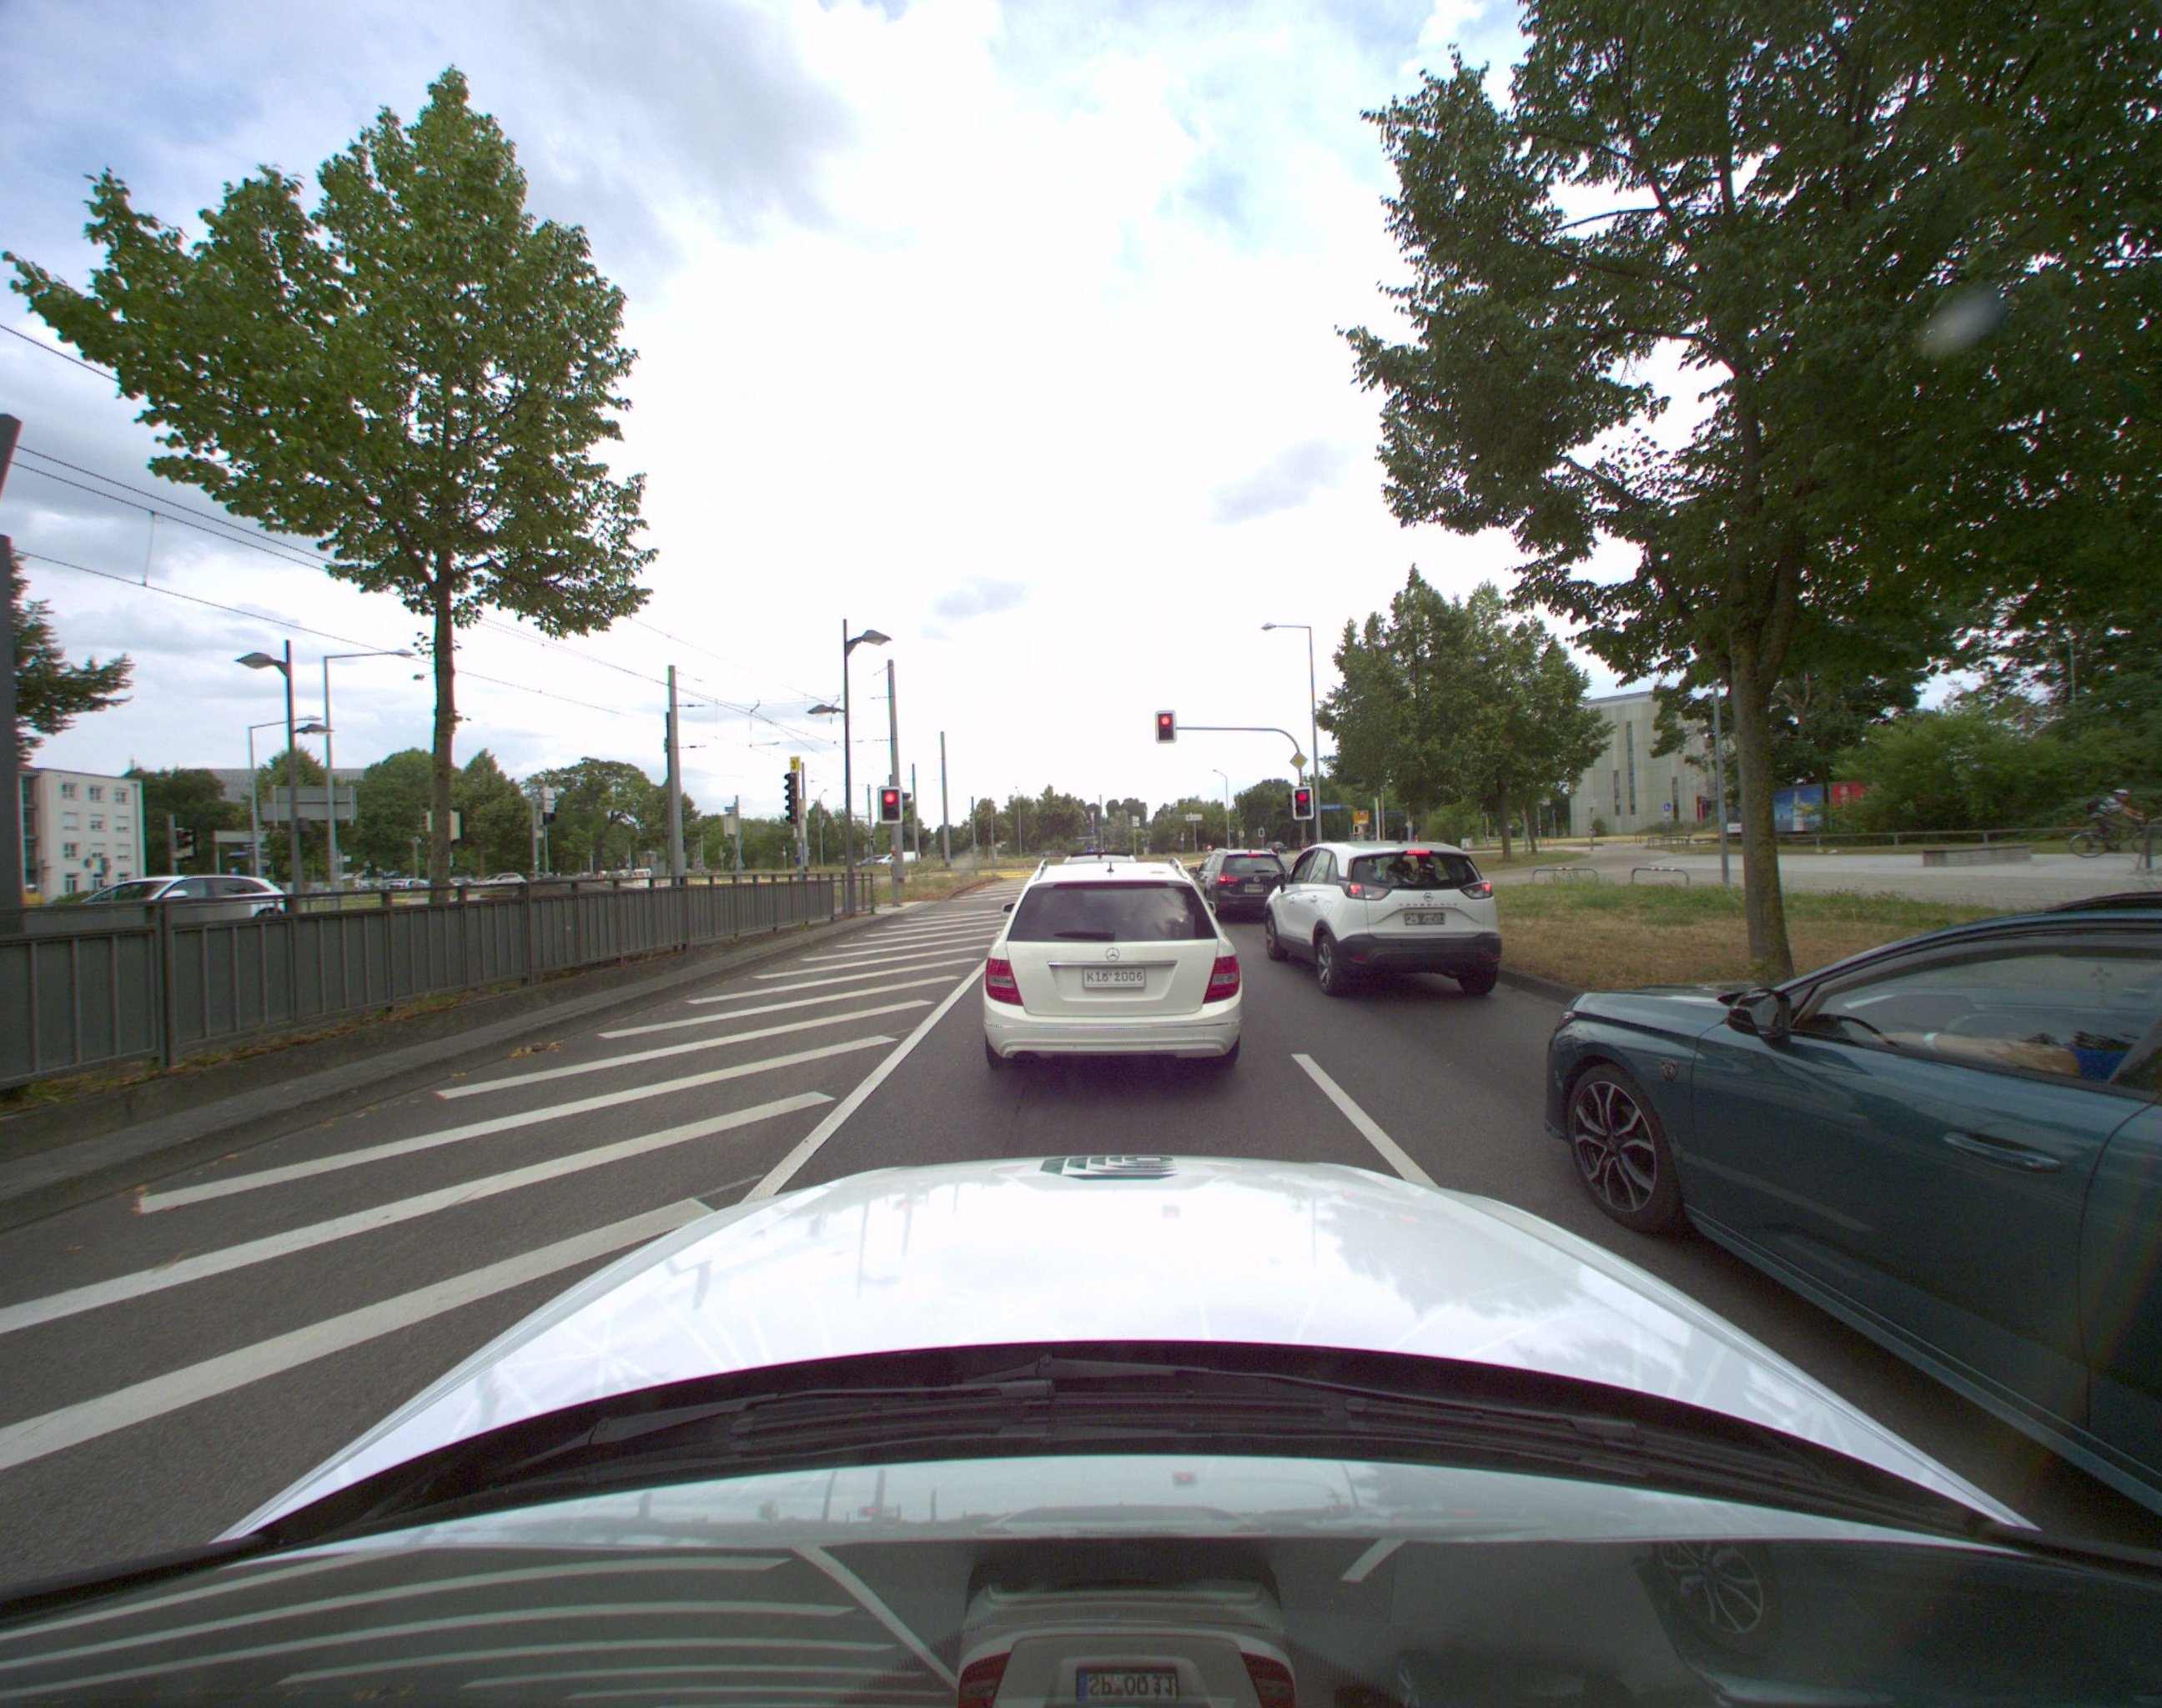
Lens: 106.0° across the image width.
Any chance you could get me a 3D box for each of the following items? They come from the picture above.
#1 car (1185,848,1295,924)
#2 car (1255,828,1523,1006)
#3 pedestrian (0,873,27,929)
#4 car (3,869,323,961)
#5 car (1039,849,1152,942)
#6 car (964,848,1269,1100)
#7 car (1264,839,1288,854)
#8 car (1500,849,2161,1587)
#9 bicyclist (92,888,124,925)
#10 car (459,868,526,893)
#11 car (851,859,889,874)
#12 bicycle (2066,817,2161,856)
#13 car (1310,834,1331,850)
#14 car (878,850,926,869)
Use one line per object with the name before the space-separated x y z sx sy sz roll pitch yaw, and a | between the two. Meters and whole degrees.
car | 3.327 0.601 17.716 1.619 1.448 3.910 -1 0 0
car | 3.335 0.588 9.676 1.780 1.624 3.912 -2 0 2
pedestrian | -36.161 1.568 27.432 0.652 1.849 0.486 -2 0 -36
car | -19.955 1.229 18.081 1.986 1.618 4.387 -2 0 2
car | 0.235 0.643 14.797 1.768 1.448 3.910 -1 0 0
car | 0.210 0.688 6.718 1.768 1.448 3.910 -1 0 0
car | 23.576 -0.869 98.516 1.975 1.791 4.023 0 0 25
car | 3.017 0.722 1.895 1.782 1.432 4.308 -1 0 -1
bicyclist | -50.026 2.696 41.878 0.835 1.834 0.775 -2 0 -36
car | -48.745 2.126 67.534 1.975 1.640 4.026 7 5 33
car | -24.742 1.451 95.605 4.005 1.719 1.984 0 0 -24
bicycle | 28.981 -0.486 22.669 0.568 0.984 1.916 -2 -1 -44
car | 26.192 -1.321 89.216 1.771 1.636 4.416 -2 0 11
car | -20.531 0.635 93.642 5.011 2.013 1.982 -2 0 -27
